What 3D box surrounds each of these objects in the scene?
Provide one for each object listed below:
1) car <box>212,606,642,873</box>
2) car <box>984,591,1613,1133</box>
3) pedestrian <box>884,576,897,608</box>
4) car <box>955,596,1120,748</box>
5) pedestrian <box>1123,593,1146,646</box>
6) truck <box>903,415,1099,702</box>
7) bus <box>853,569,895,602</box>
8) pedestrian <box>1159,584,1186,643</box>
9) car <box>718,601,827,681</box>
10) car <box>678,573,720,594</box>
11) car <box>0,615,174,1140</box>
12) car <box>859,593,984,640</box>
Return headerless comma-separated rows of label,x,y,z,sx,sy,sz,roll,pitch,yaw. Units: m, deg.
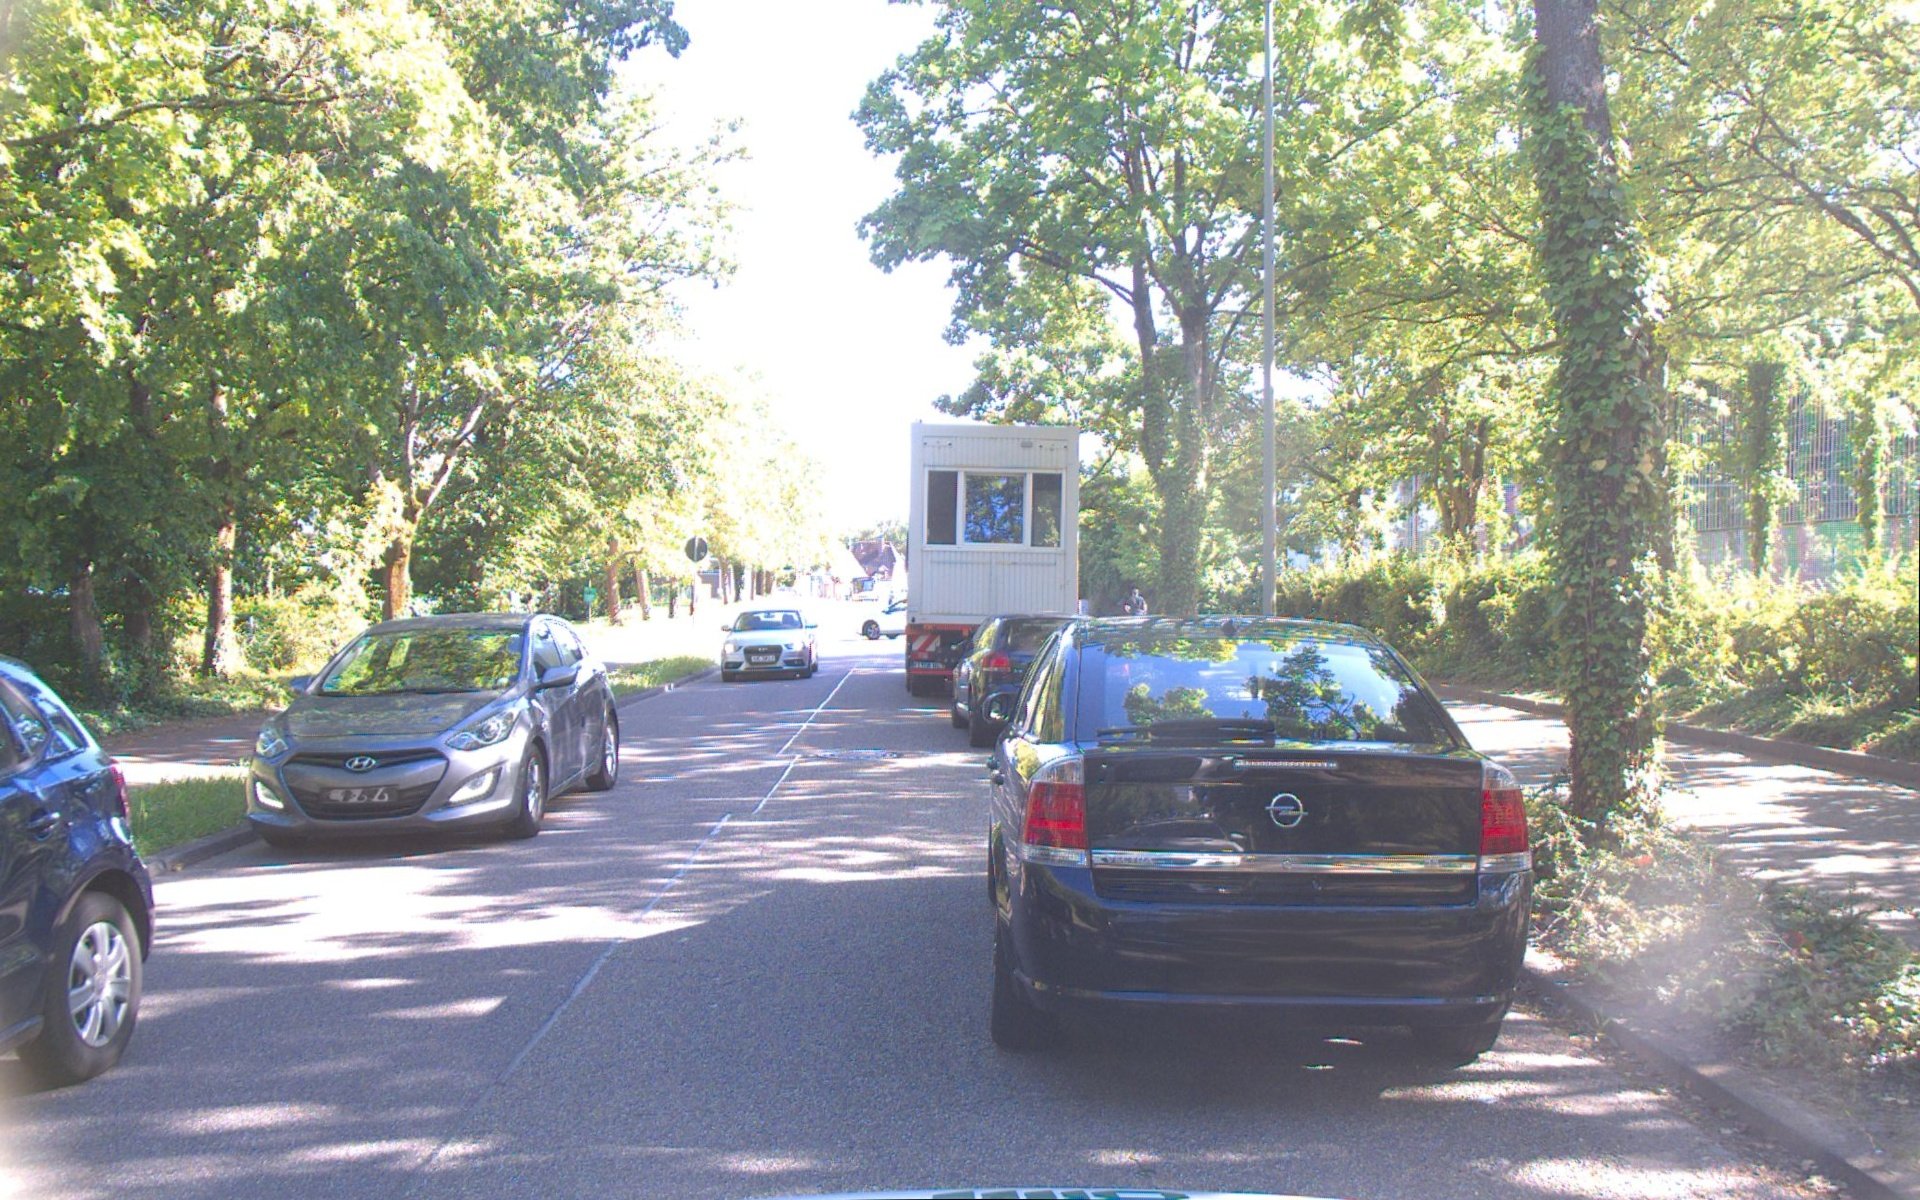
car,-3.595,0.842,12.014,1.719,1.479,4.243,-2,1,0
car,0.981,0.744,6.650,1.712,1.506,4.030,0,0,0
pedestrian,-4.688,-0.529,111.784,0.737,2.150,0.799,1,0,1
car,0.796,0.721,18.635,1.606,1.445,4.000,-2,0,0
pedestrian,5.525,0.615,52.317,0.586,1.639,0.599,-2,0,-5
truck,0.411,-0.630,28.862,2.717,4.065,10.344,1,0,-2
bus,-9.502,-1.597,183.456,3.981,3.407,9.801,-2,1,1
pedestrian,6.756,0.409,52.533,0.684,1.844,0.699,-2,0,-5
car,-3.803,0.790,34.070,1.750,1.441,4.104,-2,1,0
car,-27.106,-1.706,171.712,3.905,2.049,2.000,-2,0,0
car,-3.480,0.822,3.854,1.568,1.451,3.651,-2,1,-1
car,-1.316,0.556,56.716,3.867,1.445,1.811,-2,0,24
